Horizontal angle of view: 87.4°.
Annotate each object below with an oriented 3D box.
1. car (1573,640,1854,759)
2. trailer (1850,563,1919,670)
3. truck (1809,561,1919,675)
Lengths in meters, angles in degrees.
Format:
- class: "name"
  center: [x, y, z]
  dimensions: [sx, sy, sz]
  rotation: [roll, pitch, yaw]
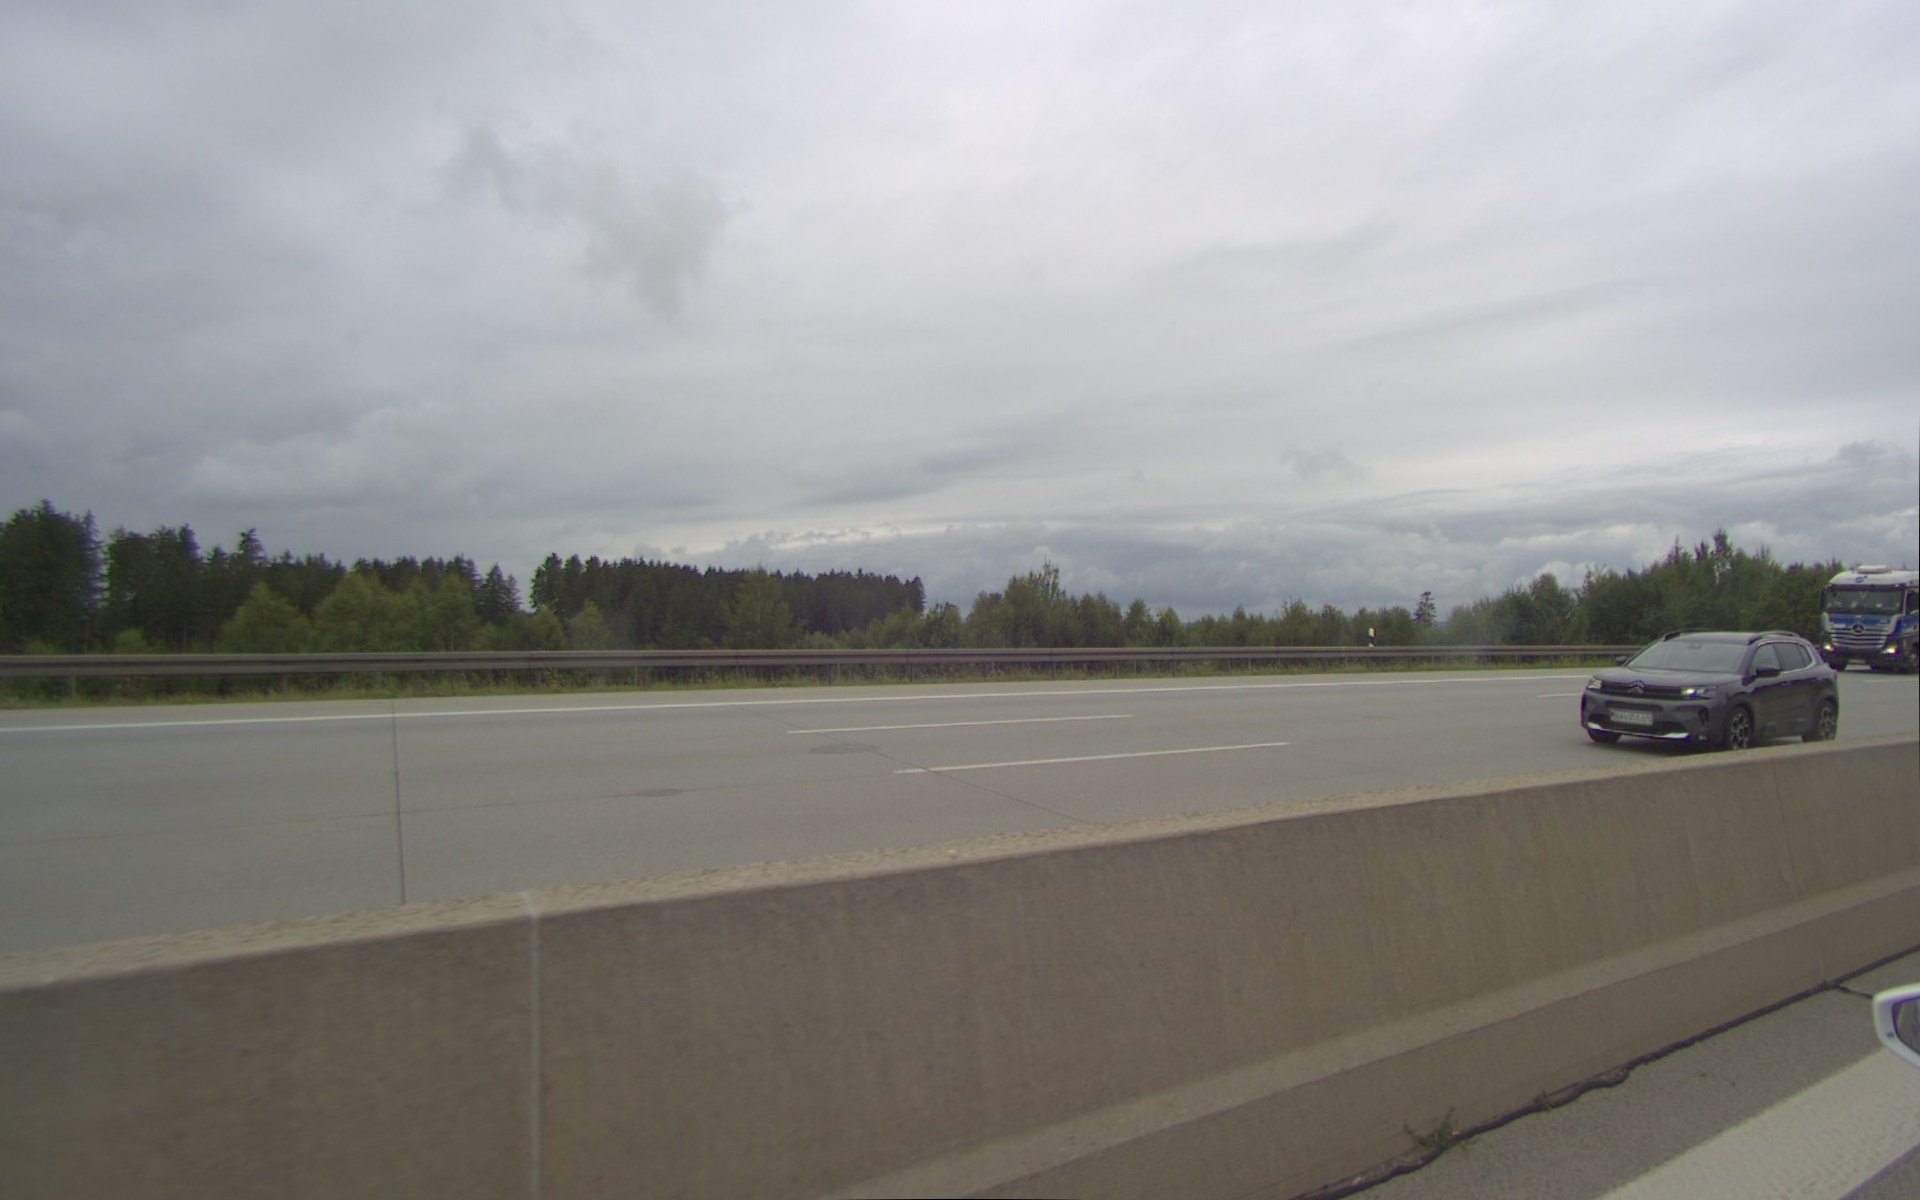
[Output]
- class: "car"
  center: [10.982, 1.336, 14.570]
  dimensions: [4.293, 1.436, 1.783]
  rotation: [1, 0, -31]
- class: "trailer"
  center: [41.452, 0.759, 41.981]
  dimensions: [12.146, 4.052, 2.745]
  rotation: [1, 0, -31]
- class: "truck"
  center: [35.798, 0.638, 38.621]
  dimensions: [6.850, 4.052, 2.733]
  rotation: [0, 1, -31]
